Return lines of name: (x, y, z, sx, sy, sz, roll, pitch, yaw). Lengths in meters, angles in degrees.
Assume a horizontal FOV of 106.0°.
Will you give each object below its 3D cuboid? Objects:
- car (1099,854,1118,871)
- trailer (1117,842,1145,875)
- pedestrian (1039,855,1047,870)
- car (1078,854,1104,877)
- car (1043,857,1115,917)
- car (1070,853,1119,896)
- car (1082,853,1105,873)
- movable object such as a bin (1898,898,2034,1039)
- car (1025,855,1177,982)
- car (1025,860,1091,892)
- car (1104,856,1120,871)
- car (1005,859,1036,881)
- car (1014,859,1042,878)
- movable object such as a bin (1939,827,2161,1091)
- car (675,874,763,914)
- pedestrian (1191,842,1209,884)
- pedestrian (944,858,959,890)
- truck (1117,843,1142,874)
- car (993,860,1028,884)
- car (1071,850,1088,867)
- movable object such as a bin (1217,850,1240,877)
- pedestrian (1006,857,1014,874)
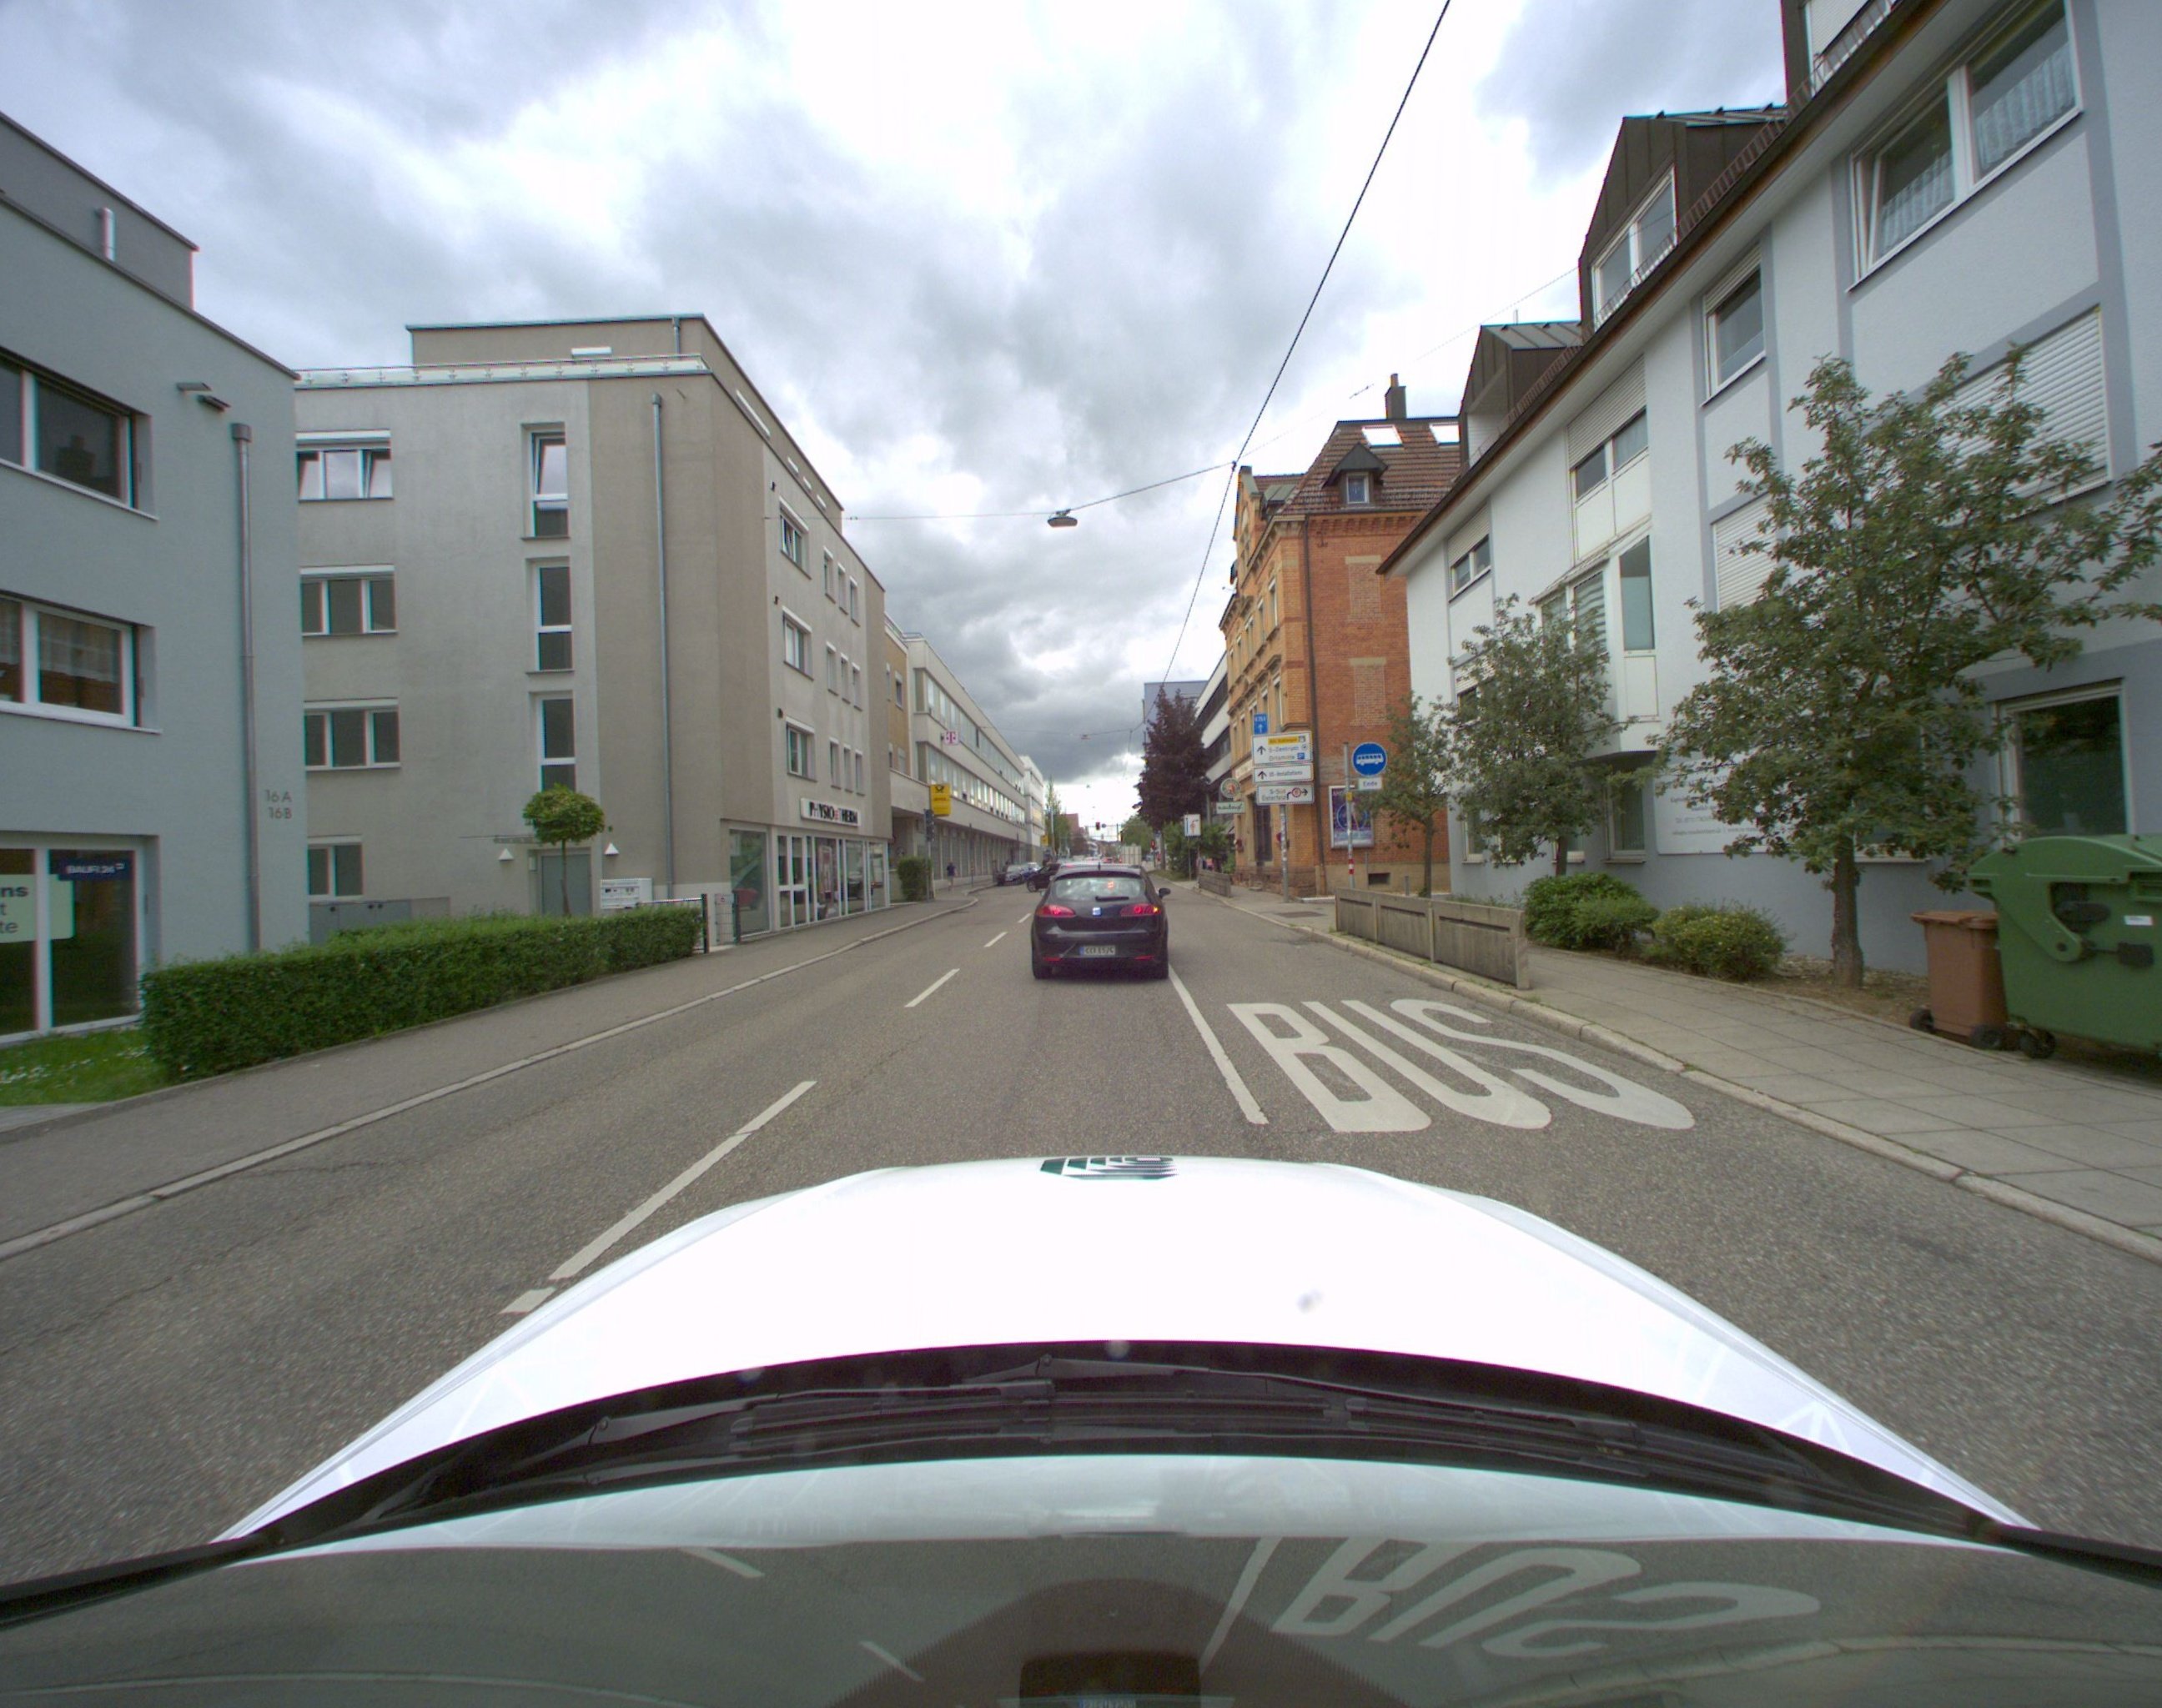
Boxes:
car: (2.704, 0.815, 81.548, 1.797, 1.601, 3.738, -1, 0, 1)
trailer: (4.193, 0.378, 69.190, 1.986, 2.607, 5.350, -2, 0, 1)
pedestrian: (-5.018, 1.074, 106.653, 0.915, 1.869, 0.783, -2, 0, 0)
car: (0.725, 0.830, 59.869, 1.797, 1.601, 3.738, -1, 0, 1)
car: (-0.023, 0.852, 22.831, 1.797, 1.492, 3.738, -2, 0, 1)
car: (0.529, 0.765, 32.545, 1.797, 1.553, 3.738, -2, 0, 1)
car: (1.067, 0.713, 67.811, 1.797, 1.601, 3.738, -1, 0, 1)
movable object such as a bin: (6.257, 0.793, 5.777, 0.428, 0.921, 0.465, -2, 0, 2)
car: (0.294, 0.768, 11.572, 1.759, 1.433, 3.829, -2, 0, 2)
car: (-1.179, 1.045, 39.622, 1.787, 1.365, 4.381, -2, 0, -22)
car: (3.590, 1.067, 94.229, 1.797, 1.601, 3.738, -1, 0, 1)
car: (-4.653, 1.213, 63.507, 1.987, 1.517, 4.175, -2, 0, 1)
car: (-4.461, 1.216, 69.212, 1.987, 1.517, 4.175, -2, 0, 1)
movable object such as a bin: (6.489, 0.554, 4.960, 1.262, 1.417, 1.163, -2, 0, 2)
car: (-14.419, 1.557, 32.670, 1.747, 1.457, 3.692, -1, -1, 2)
pedestrian: (5.891, 0.441, 40.449, 0.691, 2.013, 0.676, -3, 0, 0)
pedestrian: (-7.317, 1.132, 45.914, 0.640, 1.769, 0.809, -2, 0, 0)
truck: (4.246, 0.379, 71.958, 1.987, 2.607, 3.260, -2, 0, 1)
car: (-4.956, 1.231, 57.644, 1.906, 1.517, 4.175, -3, 0, 1)
car: (-0.128, 0.599, 107.089, 1.987, 2.013, 4.903, -4, 0, 1)
movable object such as a bin: (8.559, 0.530, 47.233, 0.940, 1.470, 1.445, -4, -1, -1)
pedestrian: (-7.123, 1.147, 81.478, 0.653, 1.623, 0.681, -2, 0, 2)
